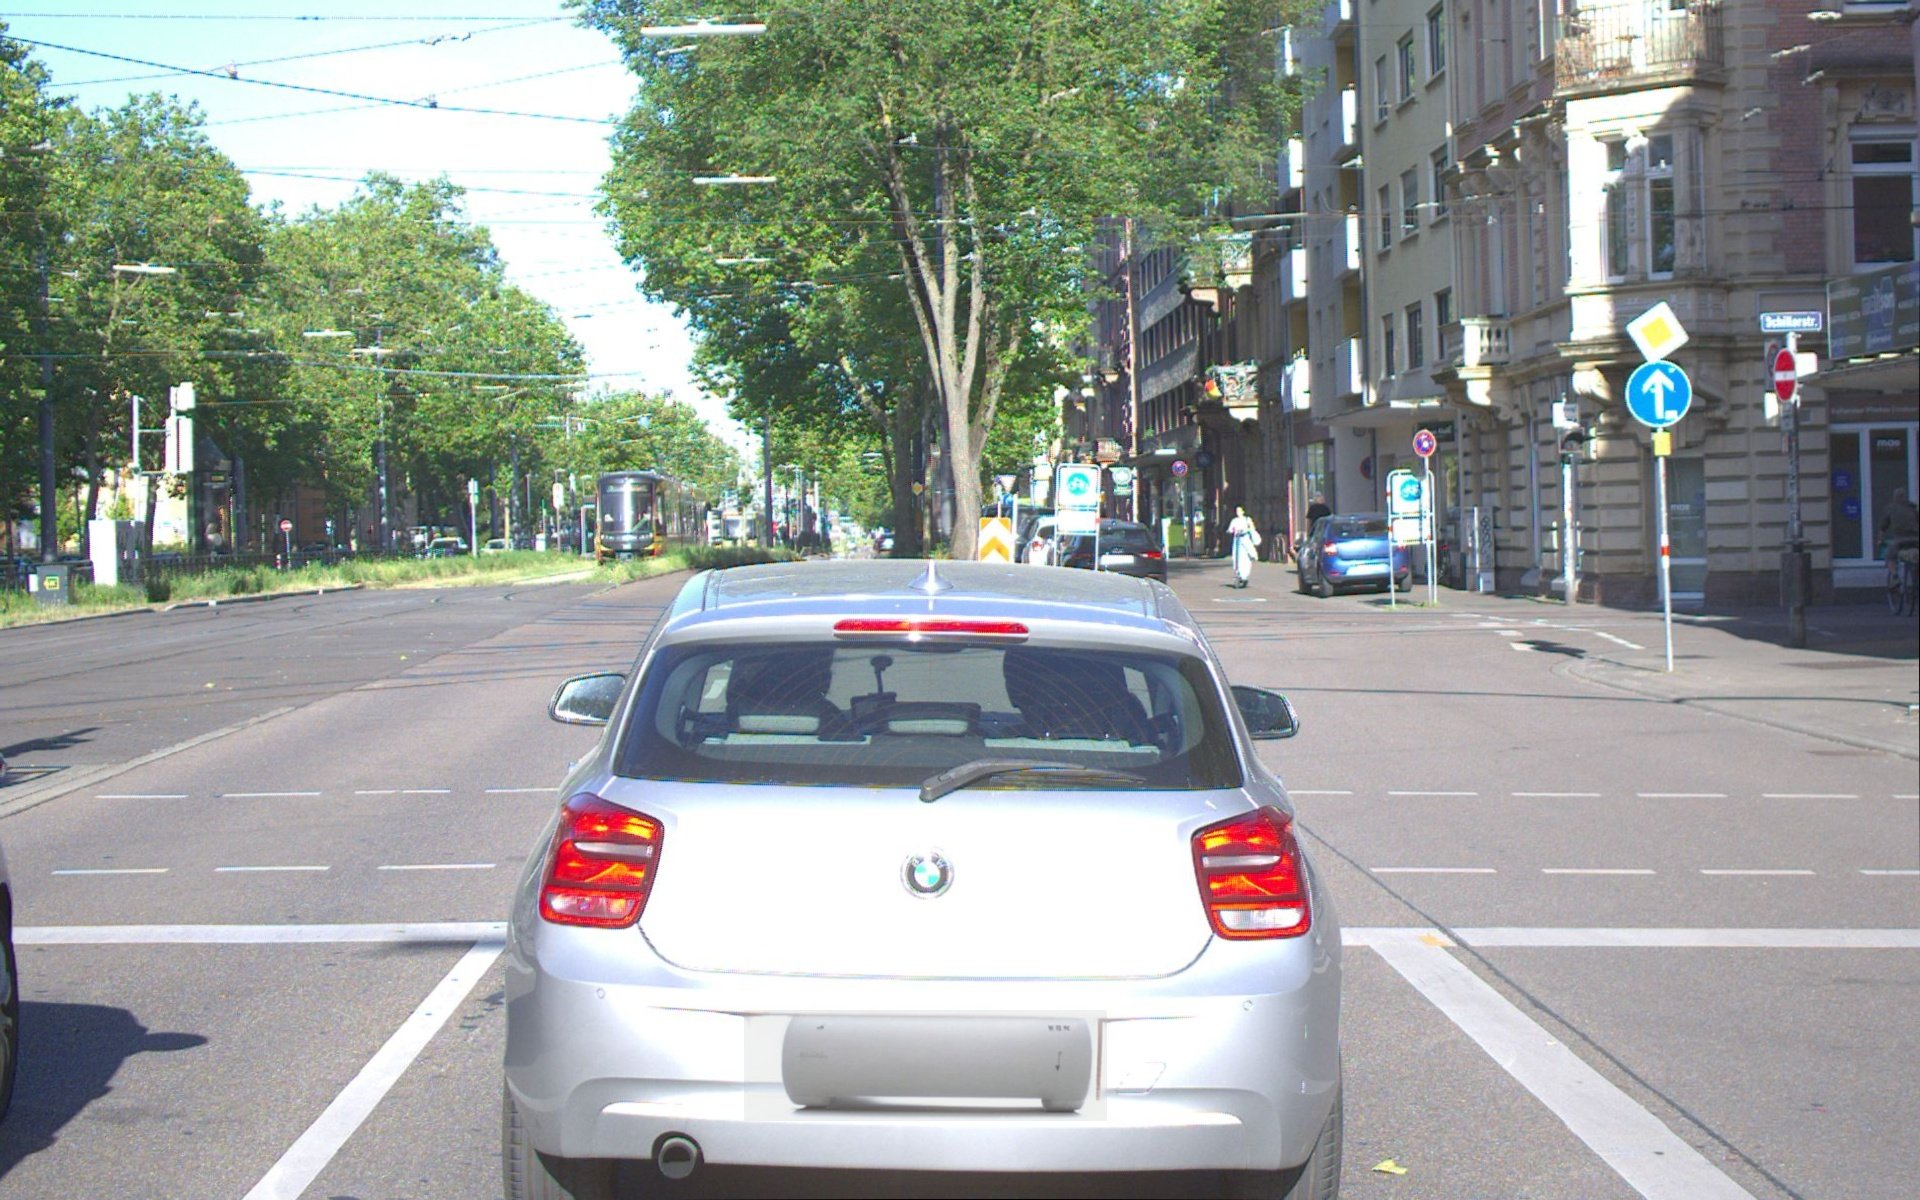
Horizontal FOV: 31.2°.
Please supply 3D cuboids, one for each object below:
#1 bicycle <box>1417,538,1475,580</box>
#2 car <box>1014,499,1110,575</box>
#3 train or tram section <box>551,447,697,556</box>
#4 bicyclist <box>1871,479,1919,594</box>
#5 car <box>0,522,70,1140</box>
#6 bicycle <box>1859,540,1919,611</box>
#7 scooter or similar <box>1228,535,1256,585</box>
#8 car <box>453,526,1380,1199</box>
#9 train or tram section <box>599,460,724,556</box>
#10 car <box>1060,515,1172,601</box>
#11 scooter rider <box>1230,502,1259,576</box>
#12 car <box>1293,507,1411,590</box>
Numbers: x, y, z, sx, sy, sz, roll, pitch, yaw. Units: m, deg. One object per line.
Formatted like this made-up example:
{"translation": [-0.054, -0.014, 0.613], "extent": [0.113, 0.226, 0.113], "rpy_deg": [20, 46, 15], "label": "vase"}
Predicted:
{"translation": [9.223, -0.785, 65.315], "extent": [0.754, 0.768, 1.946], "rpy_deg": [-1, 2, -2], "label": "bicycle"}
{"translation": [2.056, -1.307, 70.279], "extent": [1.724, 1.501, 3.555], "rpy_deg": [0, 1, -2], "label": "car"}
{"translation": [-12.651, -3.757, 131.397], "extent": [3.969, 3.852, 17.490], "rpy_deg": [-1, 2, -1], "label": "train or tram section"}
{"translation": [12.511, -0.848, 45.393], "extent": [0.548, 1.496, 0.959], "rpy_deg": [0, 2, 41], "label": "bicyclist"}
{"translation": [-3.004, 0.590, 7.093], "extent": [1.609, 1.462, 3.891], "rpy_deg": [-1, 2, -5], "label": "car"}
{"translation": [12.482, -0.327, 45.365], "extent": [0.654, 0.900, 1.335], "rpy_deg": [1, 2, 41], "label": "bicycle"}
{"translation": [5.762, -0.822, 70.248], "extent": [0.337, 0.984, 1.283], "rpy_deg": [-1, 2, 14], "label": "scooter or similar"}
{"translation": [-0.110, 0.571, 8.506], "extent": [1.740, 1.462, 4.000], "rpy_deg": [1, 2, -1], "label": "car"}
{"translation": [-12.771, -3.992, 148.834], "extent": [4.005, 3.852, 17.490], "rpy_deg": [-1, 2, -1], "label": "train or tram section"}
{"translation": [2.655, -0.745, 59.260], "extent": [1.735, 1.428, 3.678], "rpy_deg": [0, 1, 0], "label": "car"}
{"translation": [5.809, -1.251, 70.201], "extent": [0.465, 1.500, 0.810], "rpy_deg": [-1, 1, 13], "label": "scooter rider"}
{"translation": [7.375, -0.991, 64.956], "extent": [1.735, 1.514, 3.637], "rpy_deg": [0, 1, -1], "label": "car"}
